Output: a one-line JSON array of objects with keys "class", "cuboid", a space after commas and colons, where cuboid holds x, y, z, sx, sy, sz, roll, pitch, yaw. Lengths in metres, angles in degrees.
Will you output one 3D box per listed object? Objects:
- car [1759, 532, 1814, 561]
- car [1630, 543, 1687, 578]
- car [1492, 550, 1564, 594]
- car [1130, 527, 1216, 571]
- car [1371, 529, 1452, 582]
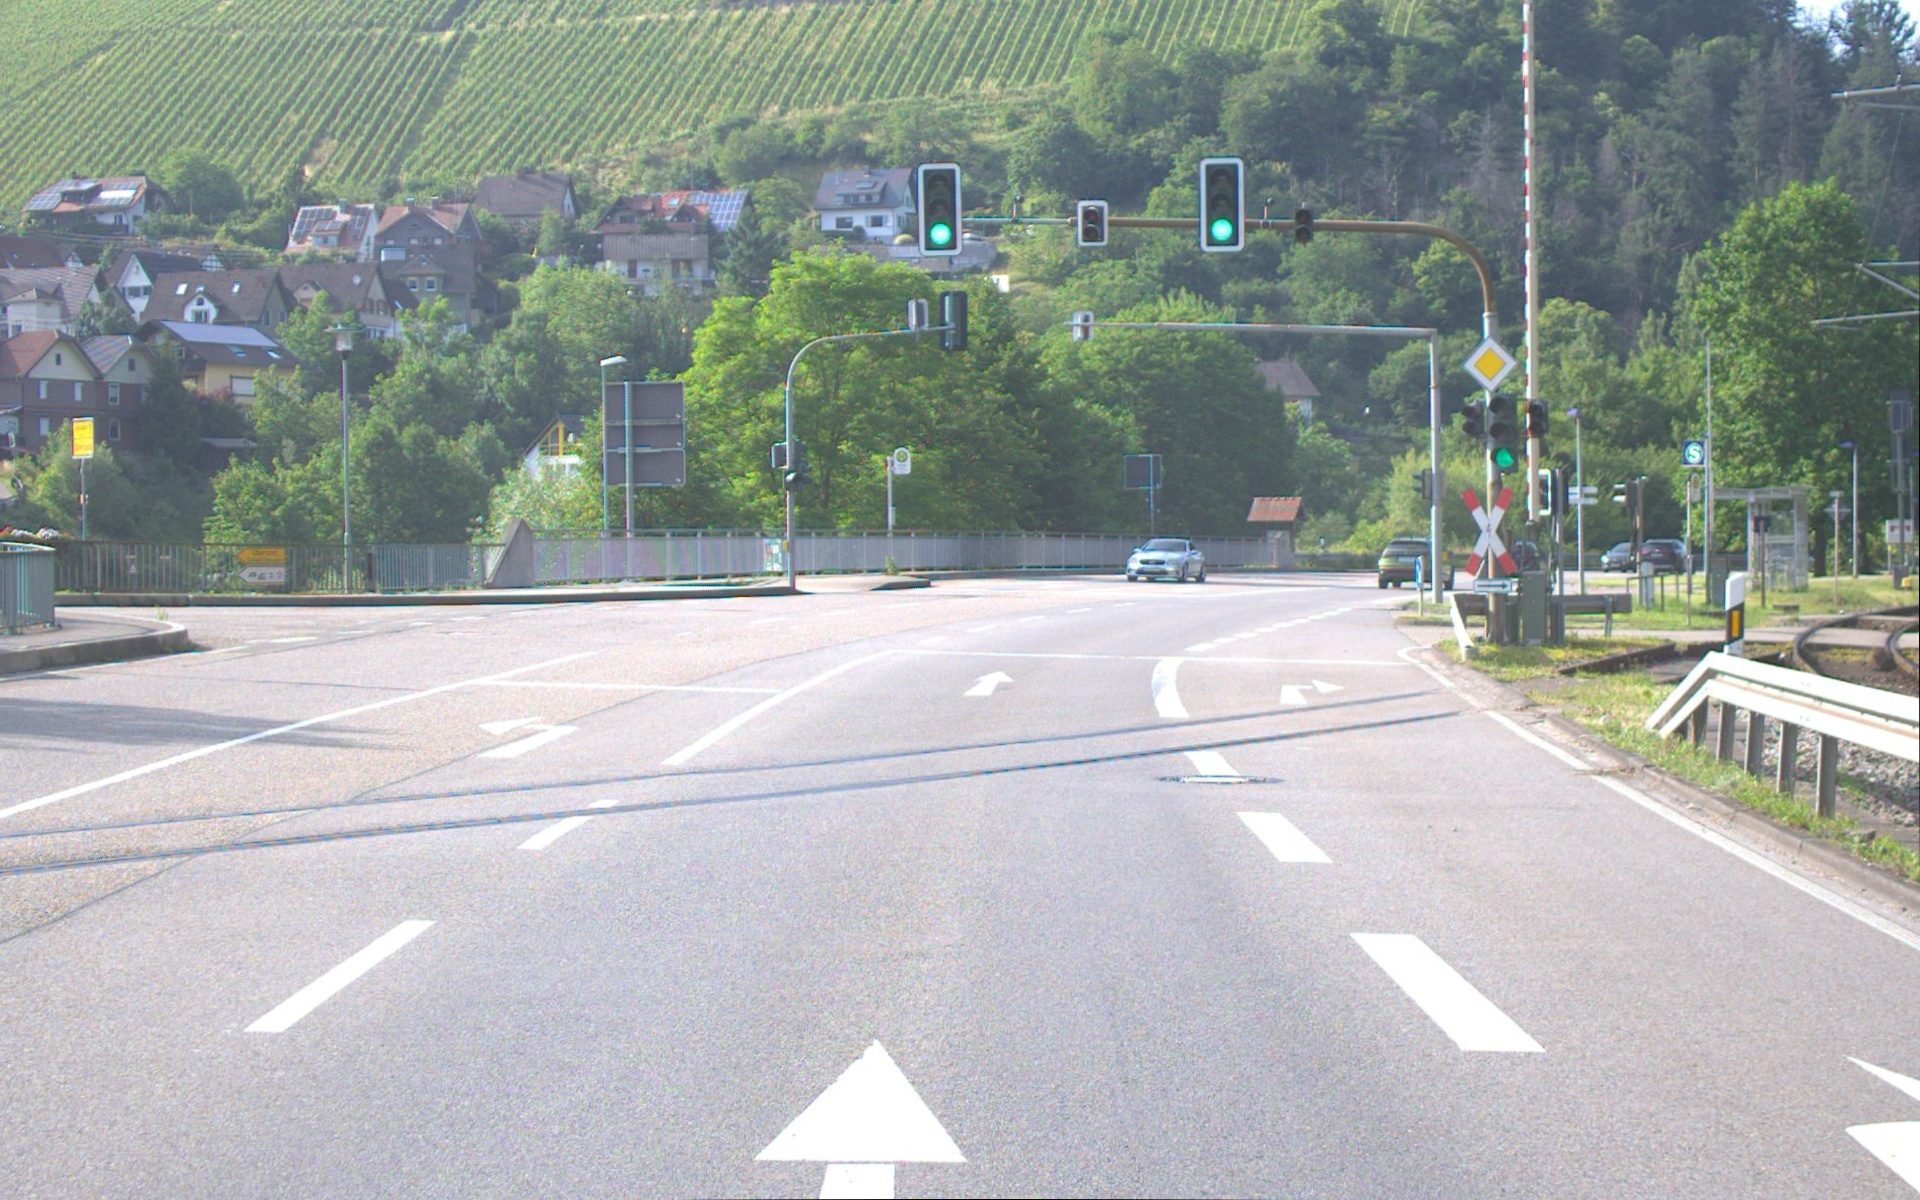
[{"class": "car", "cuboid": [41.637, -2.703, 173.100, 1.811, 1.403, 3.768, -1, 0, 27]}, {"class": "car", "cuboid": [30.428, -1.710, 149.668, 1.808, 1.448, 3.643, -1, 0, 21]}, {"class": "car", "cuboid": [19.613, -0.958, 118.655, 1.842, 1.454, 3.709, -1, 0, 19]}, {"class": "car", "cuboid": [6.300, -1.519, 101.255, 1.646, 1.227, 4.090, 1, 2, 17]}, {"class": "car", "cuboid": [12.935, -1.271, 98.365, 1.730, 1.452, 3.408, -1, 0, 17]}]
